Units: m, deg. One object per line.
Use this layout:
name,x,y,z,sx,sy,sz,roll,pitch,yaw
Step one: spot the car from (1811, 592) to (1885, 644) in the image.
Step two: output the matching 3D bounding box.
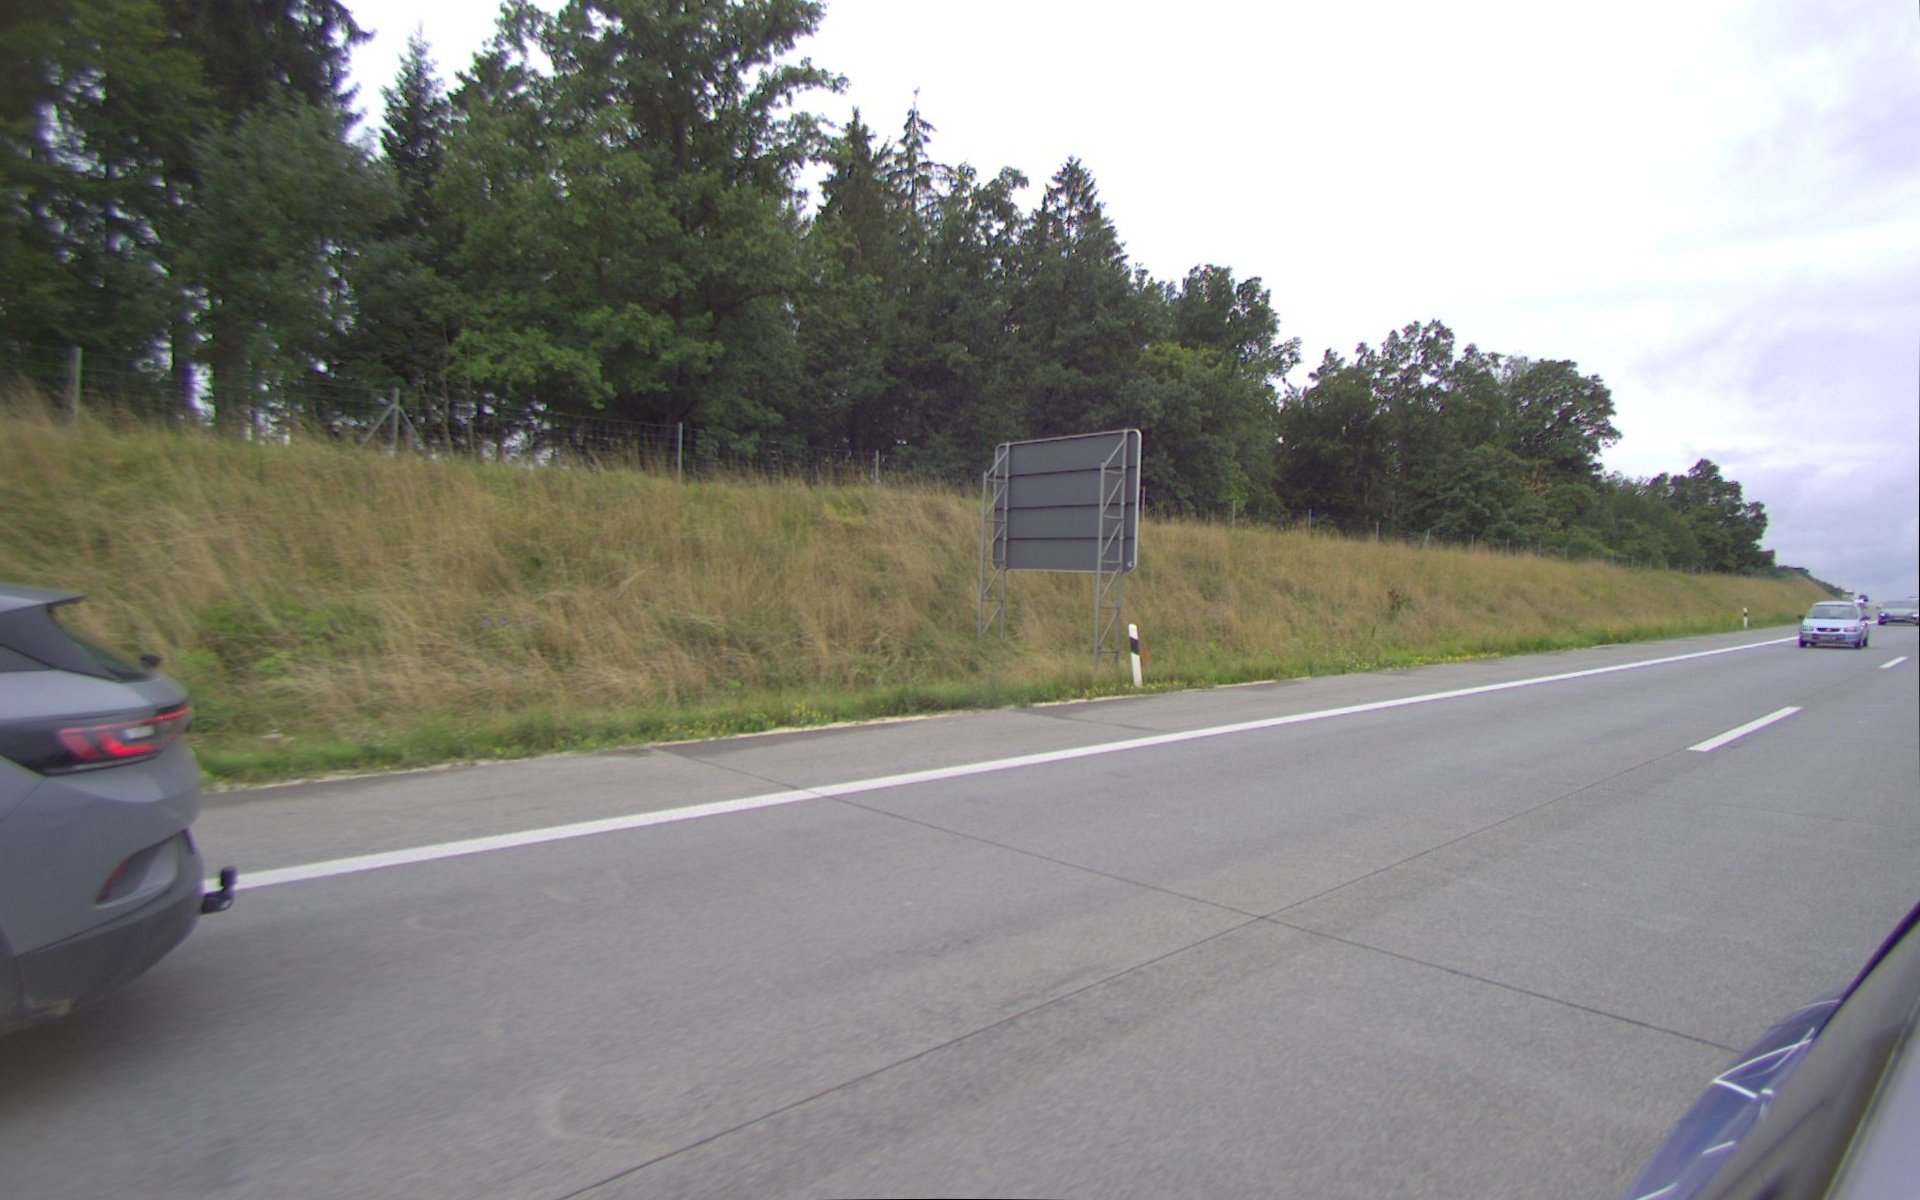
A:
car,27.823,0.555,31.686,3.446,1.489,1.487,1,0,-44

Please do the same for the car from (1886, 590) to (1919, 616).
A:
car,56.338,0.204,59.790,4.664,1.464,2.016,1,-1,-43

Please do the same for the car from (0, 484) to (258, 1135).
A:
car,-4.662,0.519,2.003,5.175,1.711,1.900,1,0,-42

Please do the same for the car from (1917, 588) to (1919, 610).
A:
car,75.810,0.015,78.801,1.786,1.624,4.497,5,2,44
